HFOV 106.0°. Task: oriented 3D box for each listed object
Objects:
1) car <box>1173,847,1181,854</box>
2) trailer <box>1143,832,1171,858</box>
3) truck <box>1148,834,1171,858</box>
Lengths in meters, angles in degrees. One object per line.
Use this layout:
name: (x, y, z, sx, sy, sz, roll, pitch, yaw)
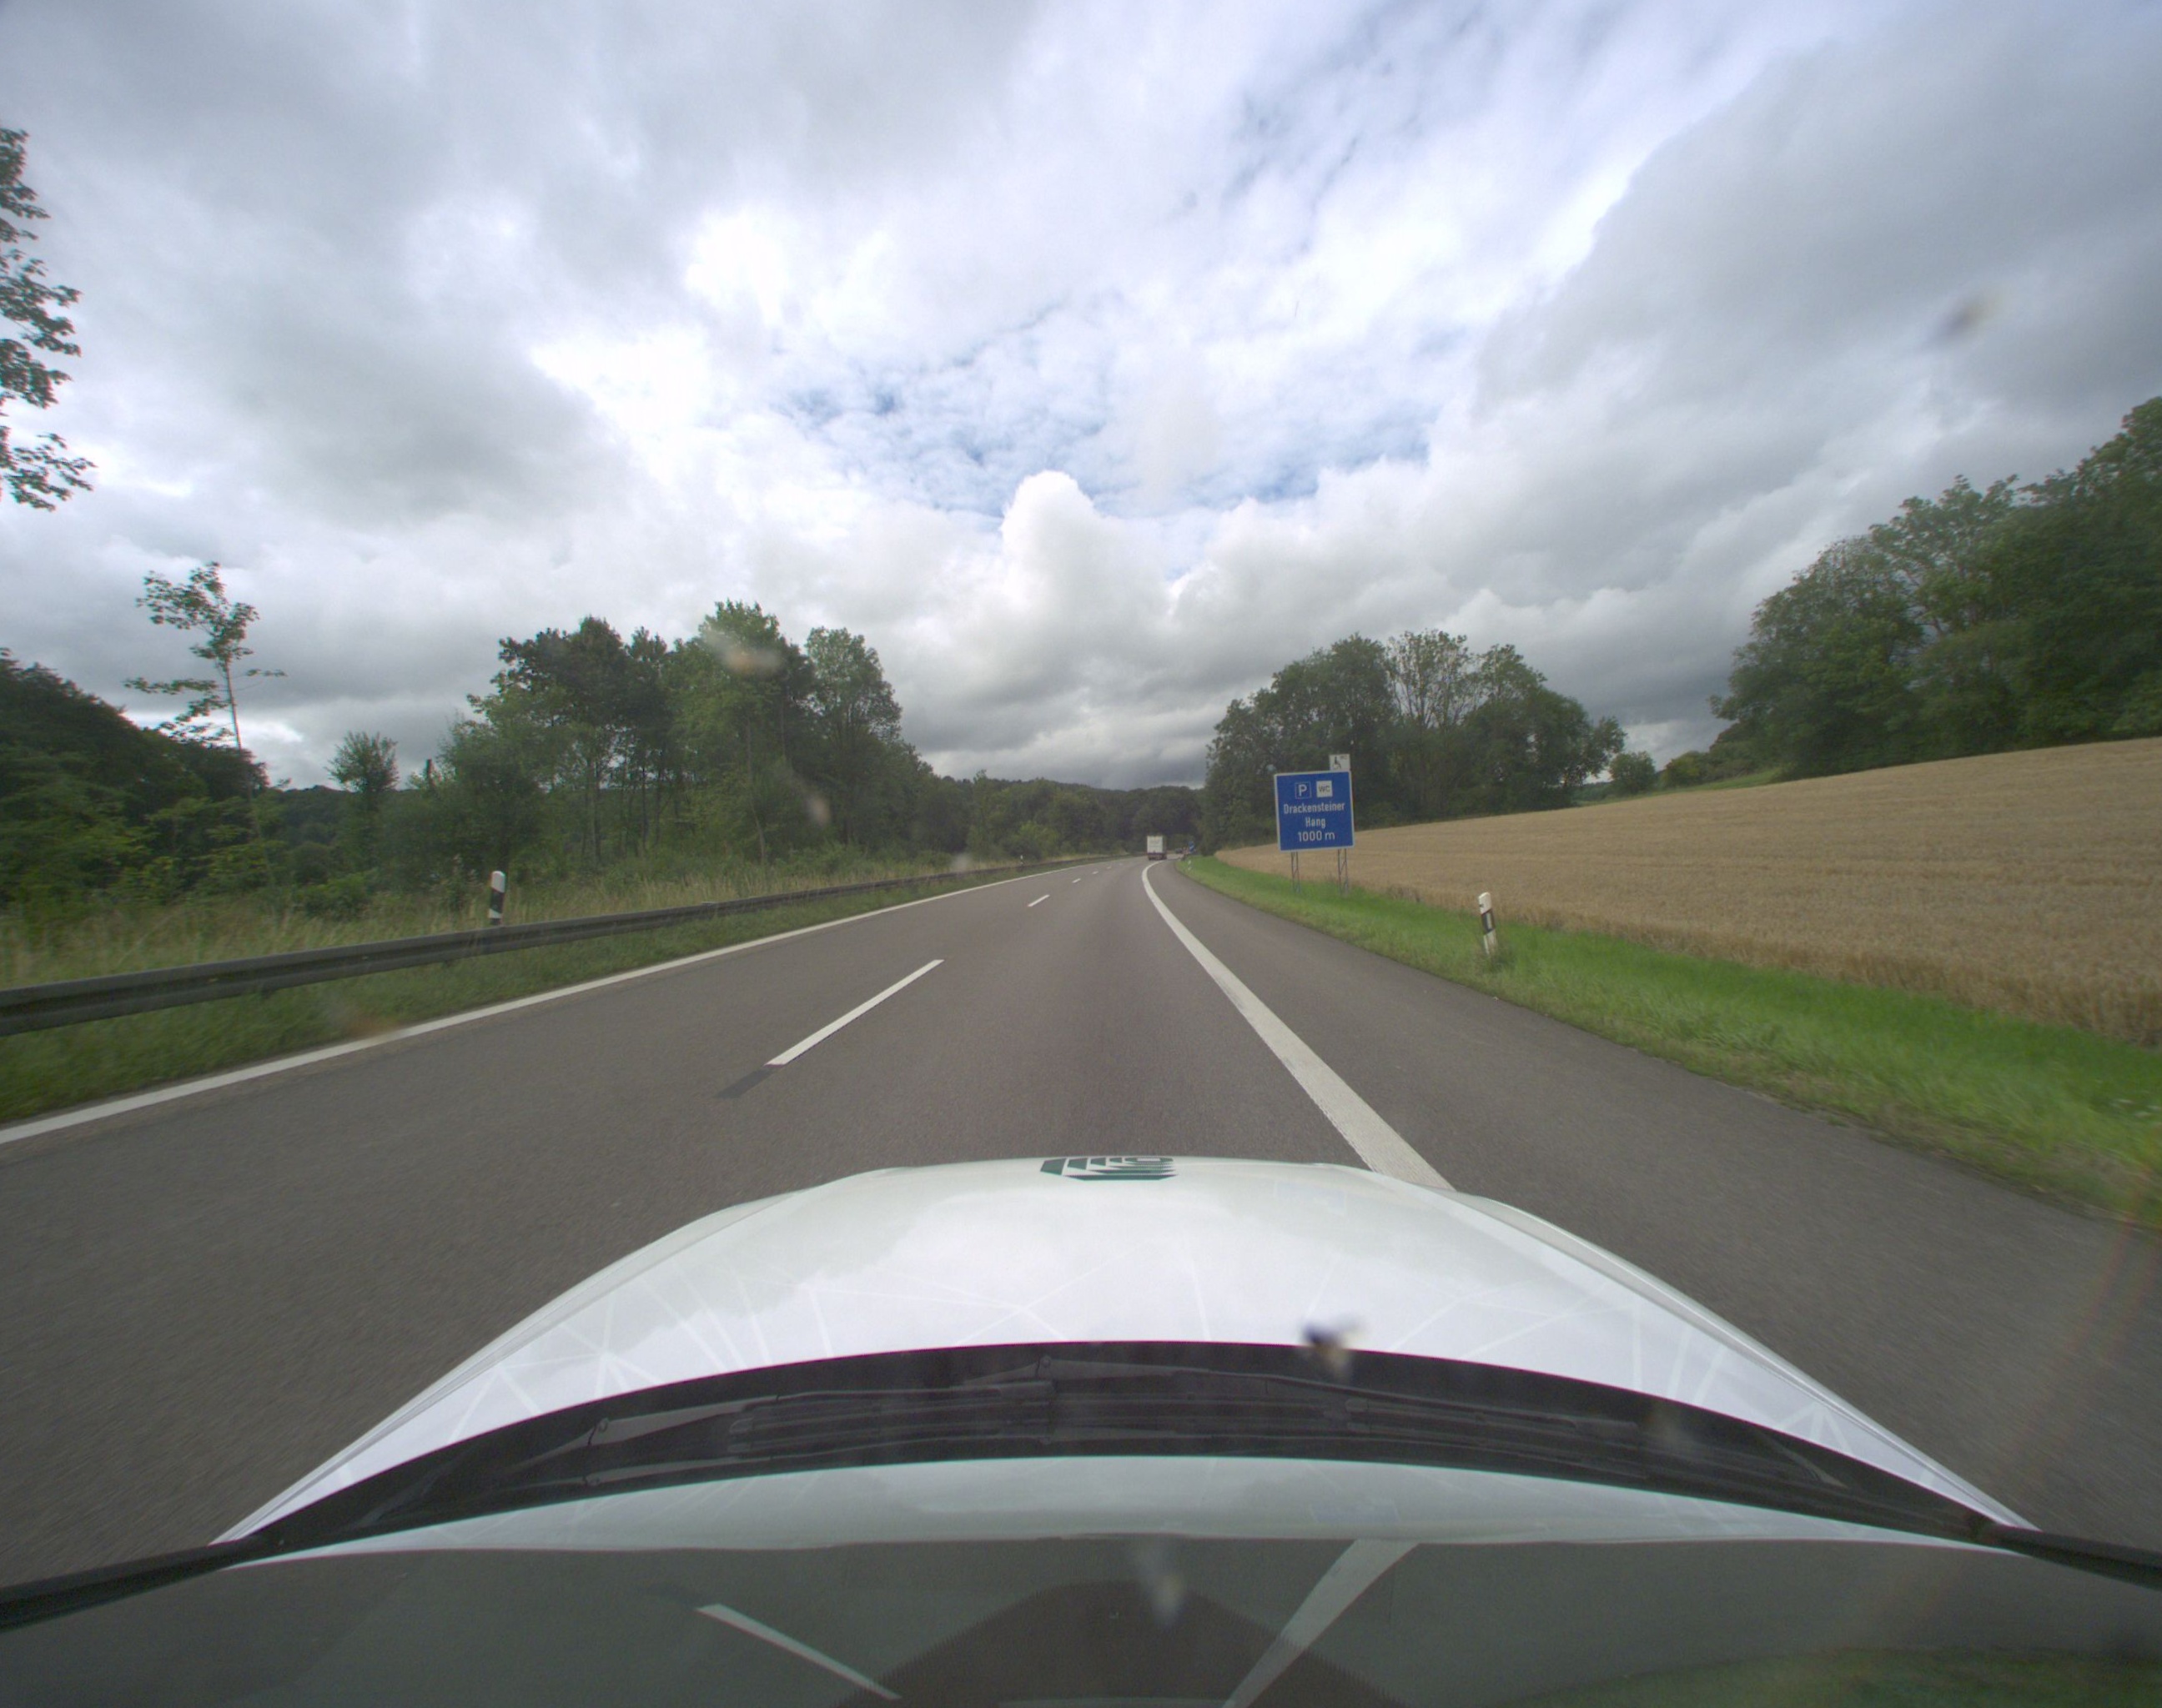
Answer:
car: (26.827, -0.958, 227.392, 1.891, 1.795, 4.012, 0, -1, 11)
trailer: (12.980, -1.477, 138.482, 3.783, 4.174, 14.844, -1, 0, 9)
truck: (14.061, -1.413, 145.449, 3.766, 4.132, 8.283, 0, -1, 8)
